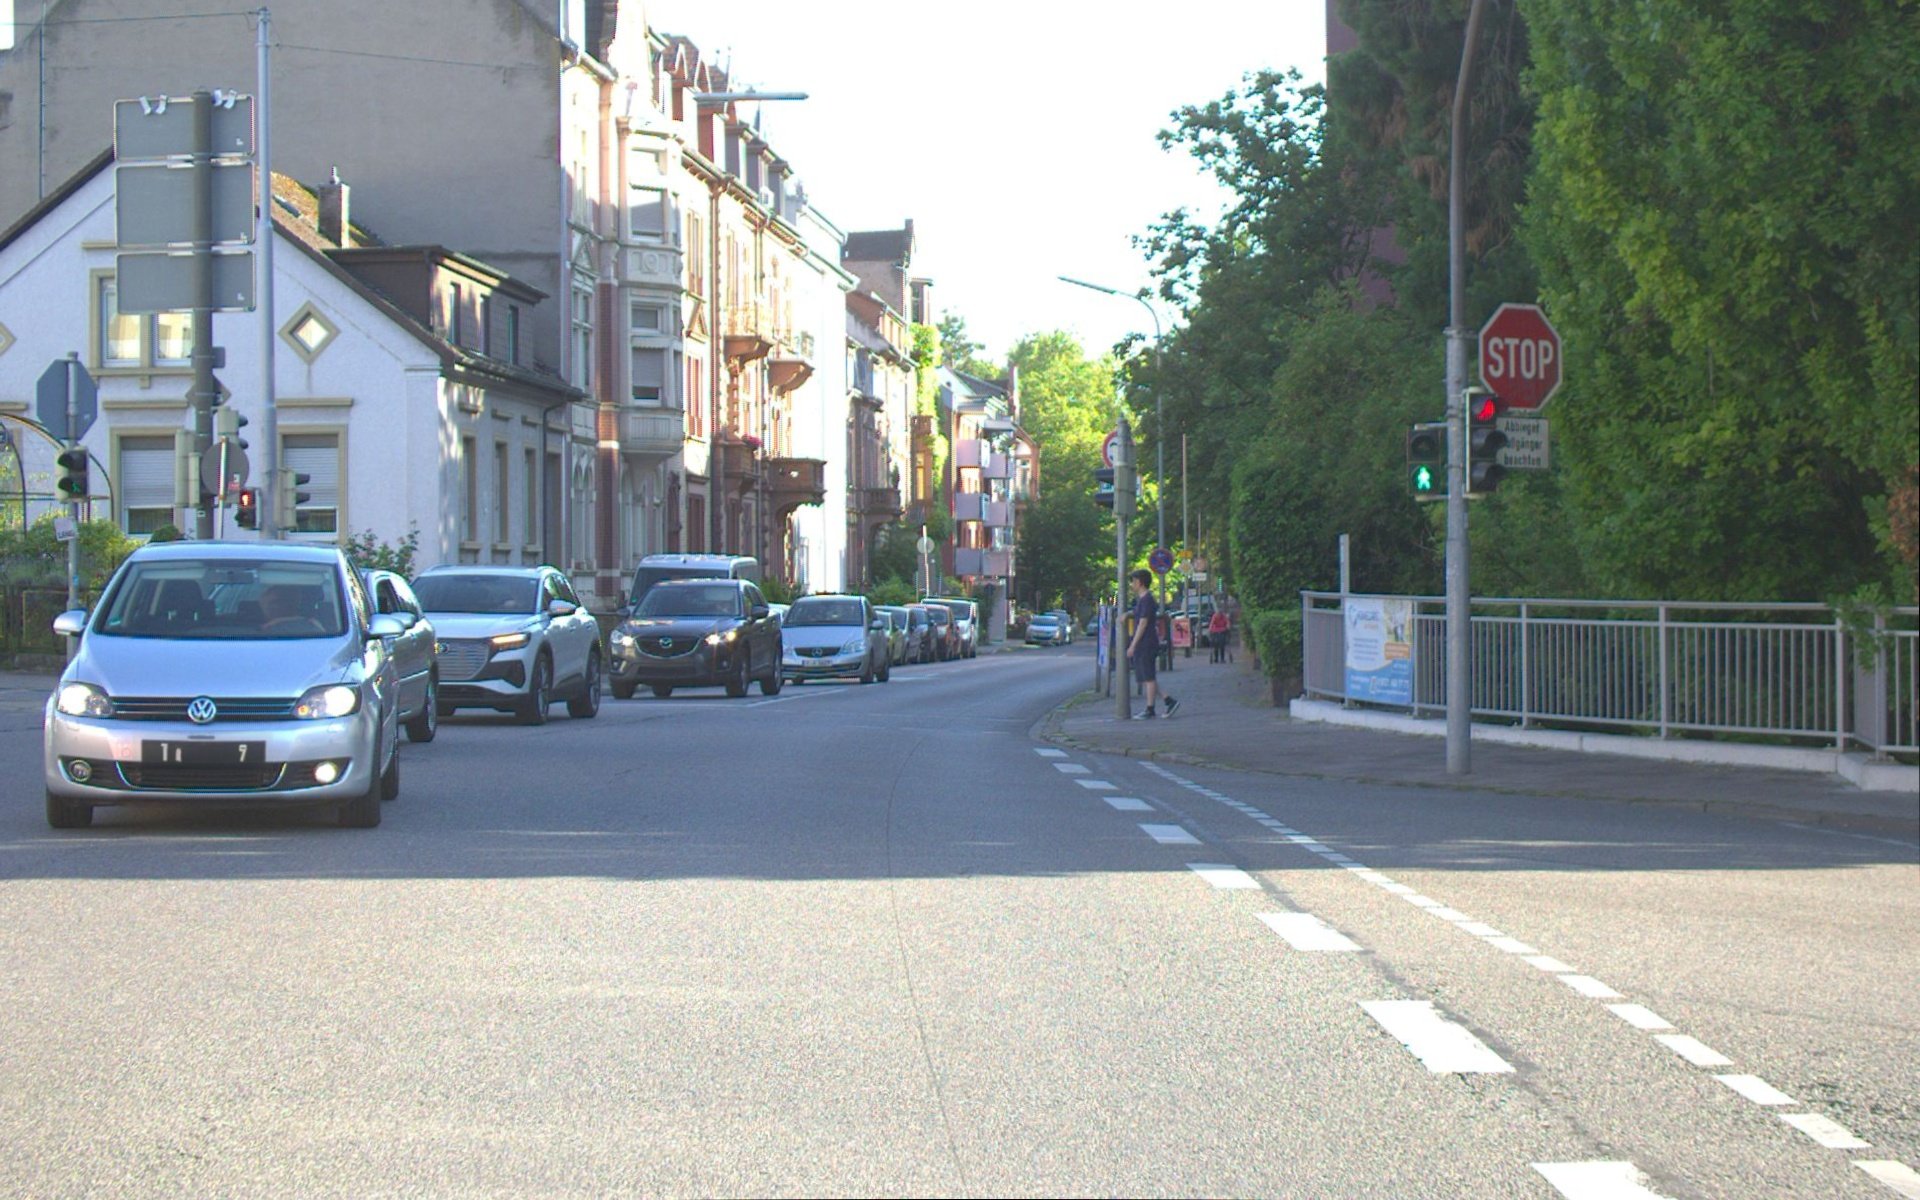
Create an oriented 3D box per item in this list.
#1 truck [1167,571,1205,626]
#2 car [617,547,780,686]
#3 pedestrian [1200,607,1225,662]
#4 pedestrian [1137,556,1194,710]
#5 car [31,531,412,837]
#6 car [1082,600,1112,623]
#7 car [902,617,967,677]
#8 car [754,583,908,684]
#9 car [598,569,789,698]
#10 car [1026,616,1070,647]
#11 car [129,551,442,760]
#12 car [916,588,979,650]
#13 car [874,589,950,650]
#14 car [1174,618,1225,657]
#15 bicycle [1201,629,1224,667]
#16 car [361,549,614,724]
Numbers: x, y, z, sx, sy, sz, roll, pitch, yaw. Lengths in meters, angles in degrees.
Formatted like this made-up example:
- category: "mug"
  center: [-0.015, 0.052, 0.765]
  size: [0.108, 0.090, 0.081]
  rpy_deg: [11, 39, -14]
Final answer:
- category: "truck"
  center: [12.212, -0.086, 185.375]
  size: [1.994, 2.887, 4.470]
  rpy_deg: [-1, 1, 4]
- category: "car"
  center: [-4.875, 0.285, 64.945]
  size: [2.068, 2.452, 6.013]
  rpy_deg: [1, 0, 5]
- category: "pedestrian"
  center: [6.591, 0.892, 89.679]
  size: [0.598, 1.398, 0.668]
  rpy_deg: [1, 1, 3]
- category: "pedestrian"
  center: [2.290, 0.365, 38.240]
  size: [0.602, 1.687, 0.612]
  rpy_deg: [-1, 1, 4]
- category: "car"
  center: [-4.085, 0.394, 19.557]
  size: [1.775, 1.537, 4.001]
  rpy_deg: [1, 1, -7]
- category: "car"
  center: [9.712, 0.810, 243.550]
  size: [1.994, 1.486, 4.470]
  rpy_deg: [-1, 1, 5]
- category: "car"
  center: [-0.756, 1.422, 105.543]
  size: [1.702, 1.732, 3.856]
  rpy_deg: [1, 0, 3]
- category: "car"
  center: [-2.244, 0.560, 60.918]
  size: [1.954, 1.643, 4.282]
  rpy_deg: [1, 1, 8]
- category: "car"
  center: [-3.648, 0.423, 47.839]
  size: [1.954, 1.643, 4.283]
  rpy_deg: [1, 1, 5]
- category: "car"
  center: [4.547, 1.626, 177.299]
  size: [1.994, 1.486, 4.470]
  rpy_deg: [-1, 1, 5]
- category: "car"
  center: [-5.230, 0.378, 27.136]
  size: [1.775, 1.475, 4.097]
  rpy_deg: [1, 1, -2]
- category: "car"
  center: [-0.396, 0.622, 116.218]
  size: [1.793, 2.003, 4.697]
  rpy_deg: [1, 0, 3]
- category: "car"
  center: [-1.351, 0.544, 98.976]
  size: [1.703, 1.702, 4.439]
  rpy_deg: [1, 0, 5]
- category: "car"
  center: [10.071, 1.564, 144.267]
  size: [1.994, 1.512, 3.999]
  rpy_deg: [-1, 1, 6]
- category: "bicycle"
  center: [6.550, 1.240, 89.092]
  size: [0.566, 0.967, 0.492]
  rpy_deg: [1, 1, 3]
- category: "car"
  center: [-4.806, 0.318, 35.557]
  size: [1.775, 1.643, 4.534]
  rpy_deg: [1, 1, 3]
